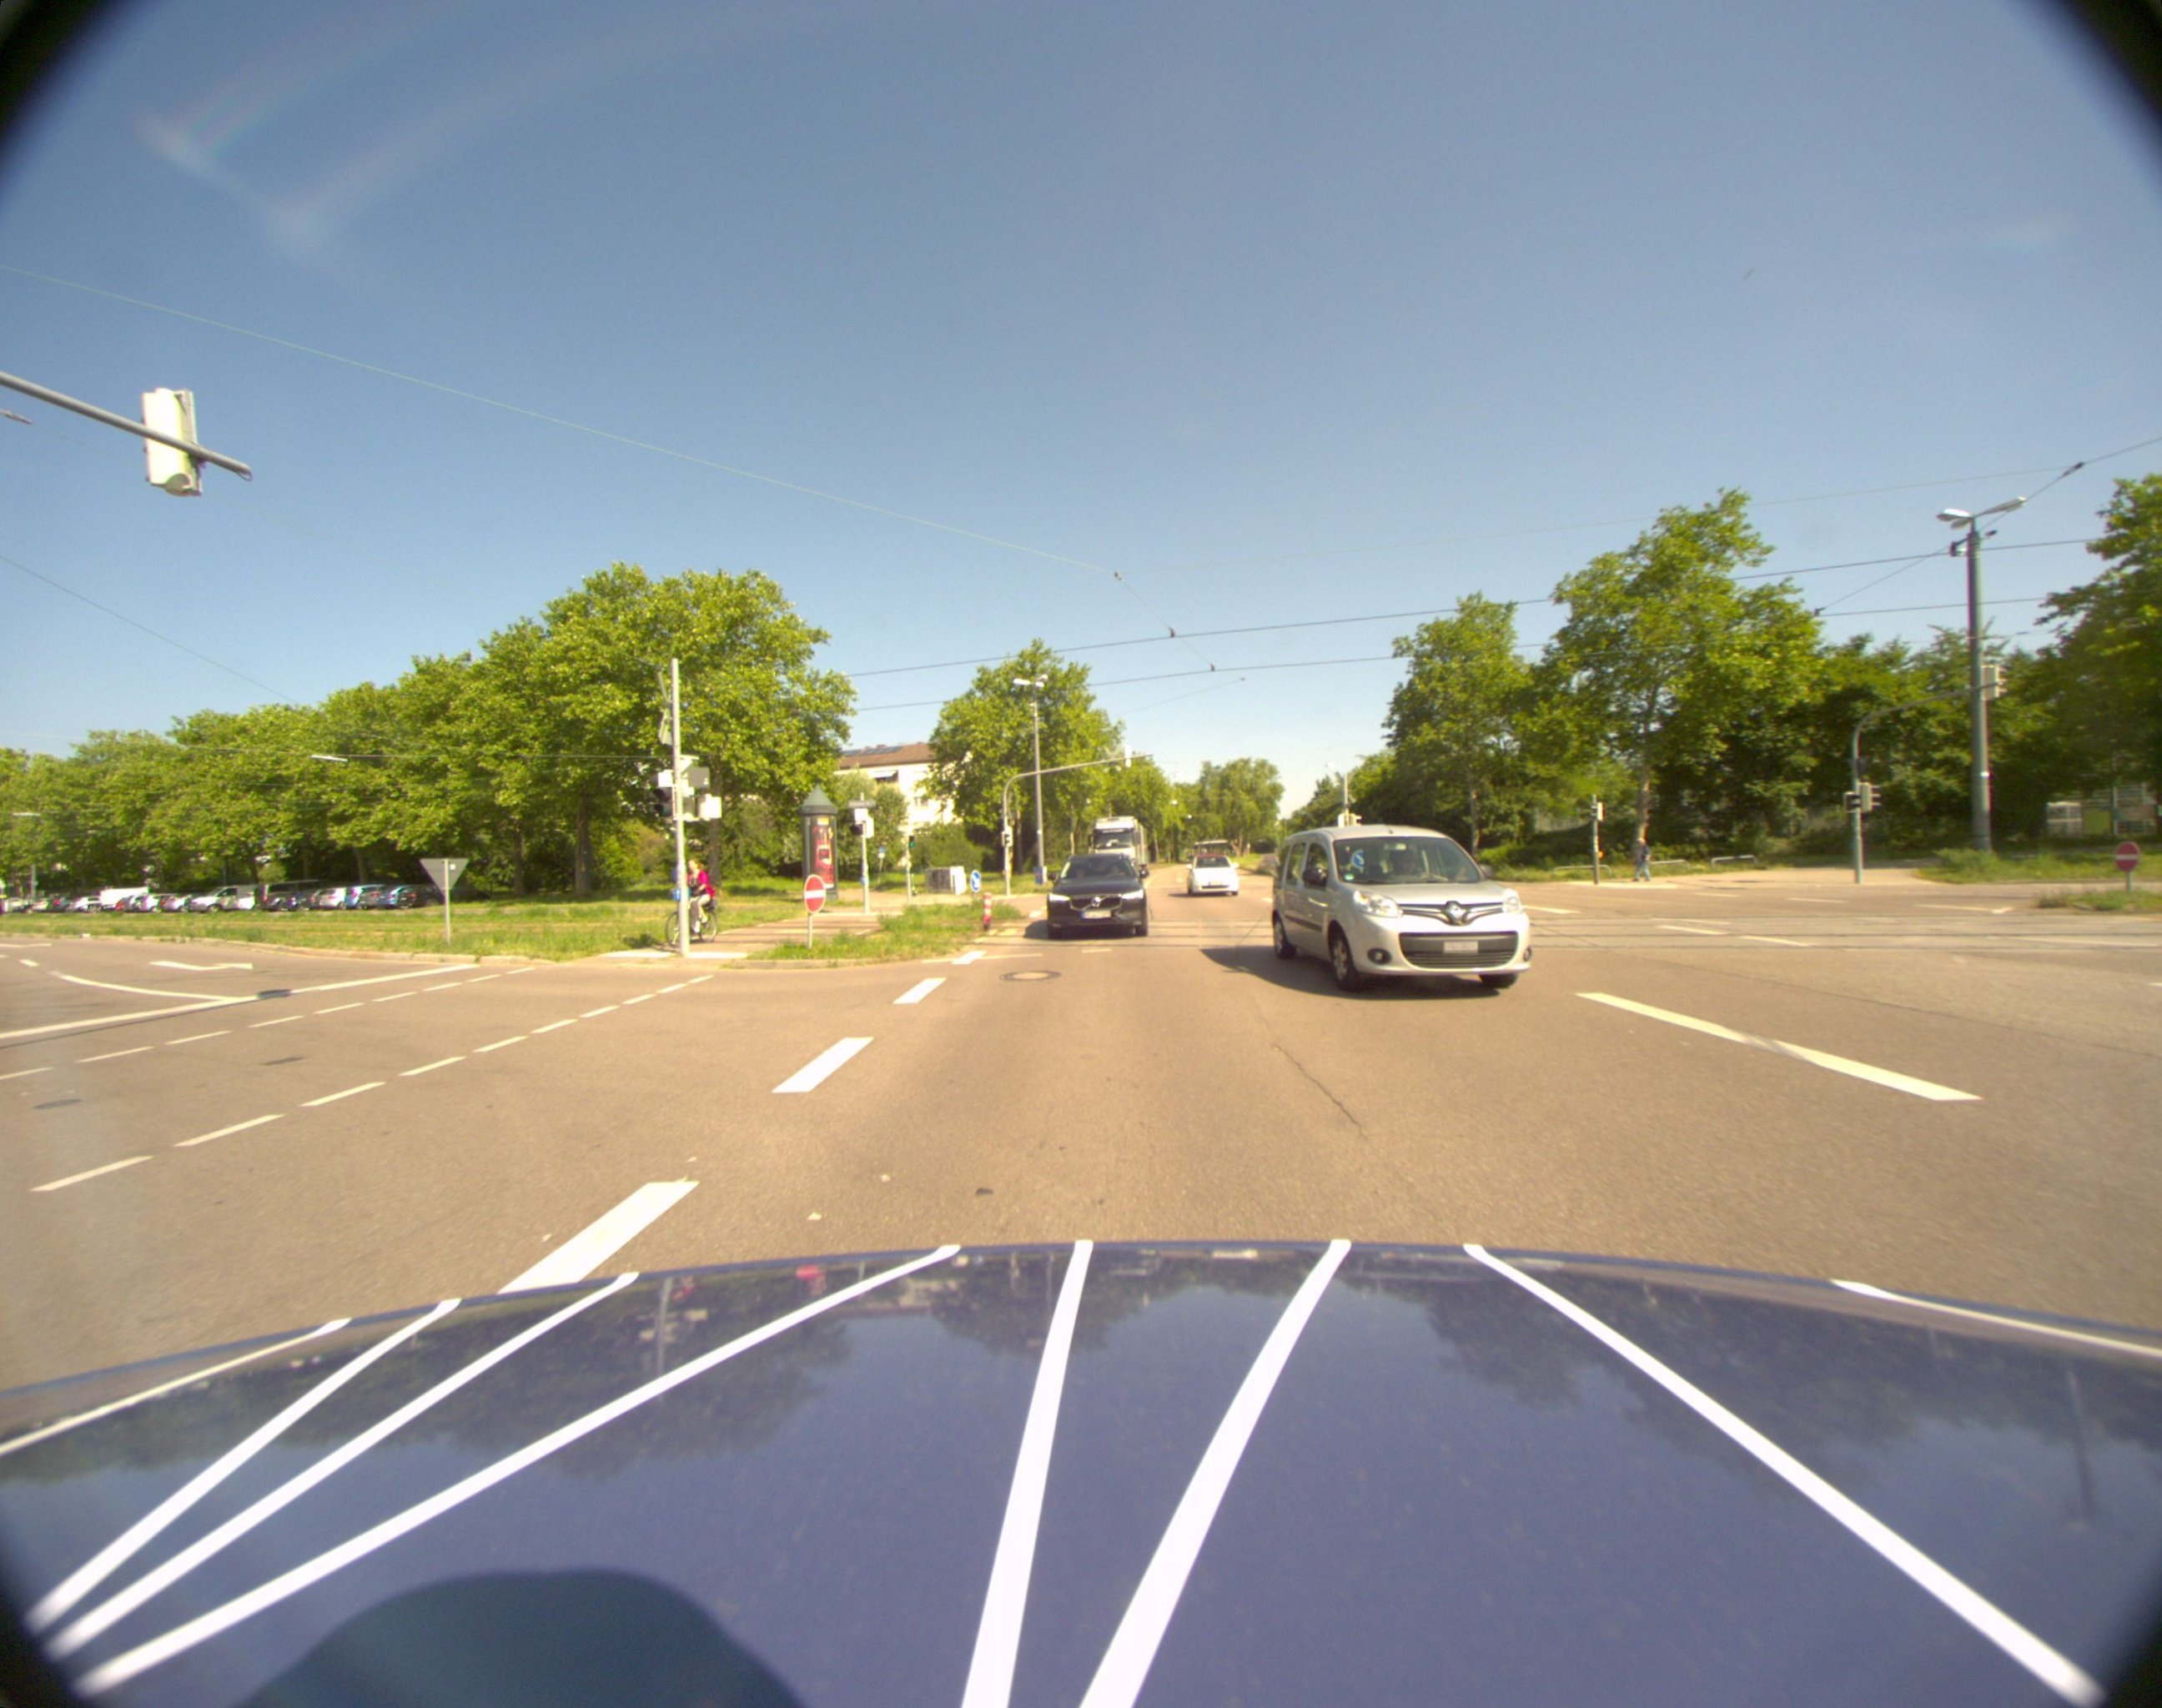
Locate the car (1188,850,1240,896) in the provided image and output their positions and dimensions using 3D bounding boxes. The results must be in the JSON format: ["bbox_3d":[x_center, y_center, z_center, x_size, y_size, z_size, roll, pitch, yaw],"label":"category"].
[{"bbox_3d":[4.861,0.639,28.252,1.688,1.482,4.377,-2,0,7],"label":"car"}]

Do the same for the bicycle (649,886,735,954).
[{"bbox_3d":[-7.903,1.300,15.547,0.693,1.178,2.124,-2,1,-3],"label":"bicycle"}]

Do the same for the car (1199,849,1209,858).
[{"bbox_3d":[30.196,-0.140,186.446,1.996,2.002,4.005,-2,0,18],"label":"car"}]

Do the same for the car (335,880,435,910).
[{"bbox_3d":[-45.634,2.645,49.948,1.996,1.623,4.360,-3,0,17],"label":"car"}]

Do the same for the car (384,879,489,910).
[{"bbox_3d":[-38.581,2.409,45.642,1.996,1.482,4.359,-2,1,17],"label":"car"}]

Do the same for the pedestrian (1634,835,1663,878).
[{"bbox_3d":[20.536,0.084,27.496,0.607,1.525,0.568,-2,1,0],"label":"pedestrian"}]

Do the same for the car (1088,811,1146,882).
[{"bbox_3d":[2.298,-0.433,45.998,2.901,3.898,7.144,-2,1,7],"label":"car"}]

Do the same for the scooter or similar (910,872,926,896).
[{"bbox_3d":[-8.511,1.548,39.688,0.517,1.135,1.443,-4,2,-21],"label":"scooter or similar"}]

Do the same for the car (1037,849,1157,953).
[{"bbox_3d":[0.362,0.767,15.053,1.904,1.606,4.872,-3,1,2],"label":"car"}]

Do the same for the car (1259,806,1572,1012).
[{"bbox_3d":[3.519,0.525,9.027,1.877,1.829,4.376,-1,-1,2],"label":"car"}]

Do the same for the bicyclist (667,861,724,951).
[{"bbox_3d":[-7.903,1.040,15.614,0.702,1.777,0.810,-2,1,-2],"label":"bicyclist"}]

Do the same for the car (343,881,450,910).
[{"bbox_3d":[-41.617,2.506,46.346,1.996,1.482,4.360,-2,0,17],"label":"car"}]

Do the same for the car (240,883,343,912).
[{"bbox_3d":[-53.676,2.939,51.761,1.996,1.623,4.360,-2,0,17],"label":"car"}]

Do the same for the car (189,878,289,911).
[{"bbox_3d":[-64.157,3.059,58.023,1.996,2.196,4.595,-2,1,17],"label":"car"}]

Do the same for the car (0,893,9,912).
[{"bbox_3d":[-97.552,4.407,67.597,3.990,1.645,1.797,-3,0,26],"label":"car"}]

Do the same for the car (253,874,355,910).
[{"bbox_3d":[-55.827,2.715,54.698,1.995,2.276,4.596,-2,1,23],"label":"car"}]

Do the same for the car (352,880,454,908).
[{"bbox_3d":[-43.213,2.536,48.556,1.996,1.482,4.360,-2,0,17],"label":"car"}]

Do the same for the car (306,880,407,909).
[{"bbox_3d":[-48.013,2.655,50.450,1.996,1.623,4.360,-2,0,17],"label":"car"}]
